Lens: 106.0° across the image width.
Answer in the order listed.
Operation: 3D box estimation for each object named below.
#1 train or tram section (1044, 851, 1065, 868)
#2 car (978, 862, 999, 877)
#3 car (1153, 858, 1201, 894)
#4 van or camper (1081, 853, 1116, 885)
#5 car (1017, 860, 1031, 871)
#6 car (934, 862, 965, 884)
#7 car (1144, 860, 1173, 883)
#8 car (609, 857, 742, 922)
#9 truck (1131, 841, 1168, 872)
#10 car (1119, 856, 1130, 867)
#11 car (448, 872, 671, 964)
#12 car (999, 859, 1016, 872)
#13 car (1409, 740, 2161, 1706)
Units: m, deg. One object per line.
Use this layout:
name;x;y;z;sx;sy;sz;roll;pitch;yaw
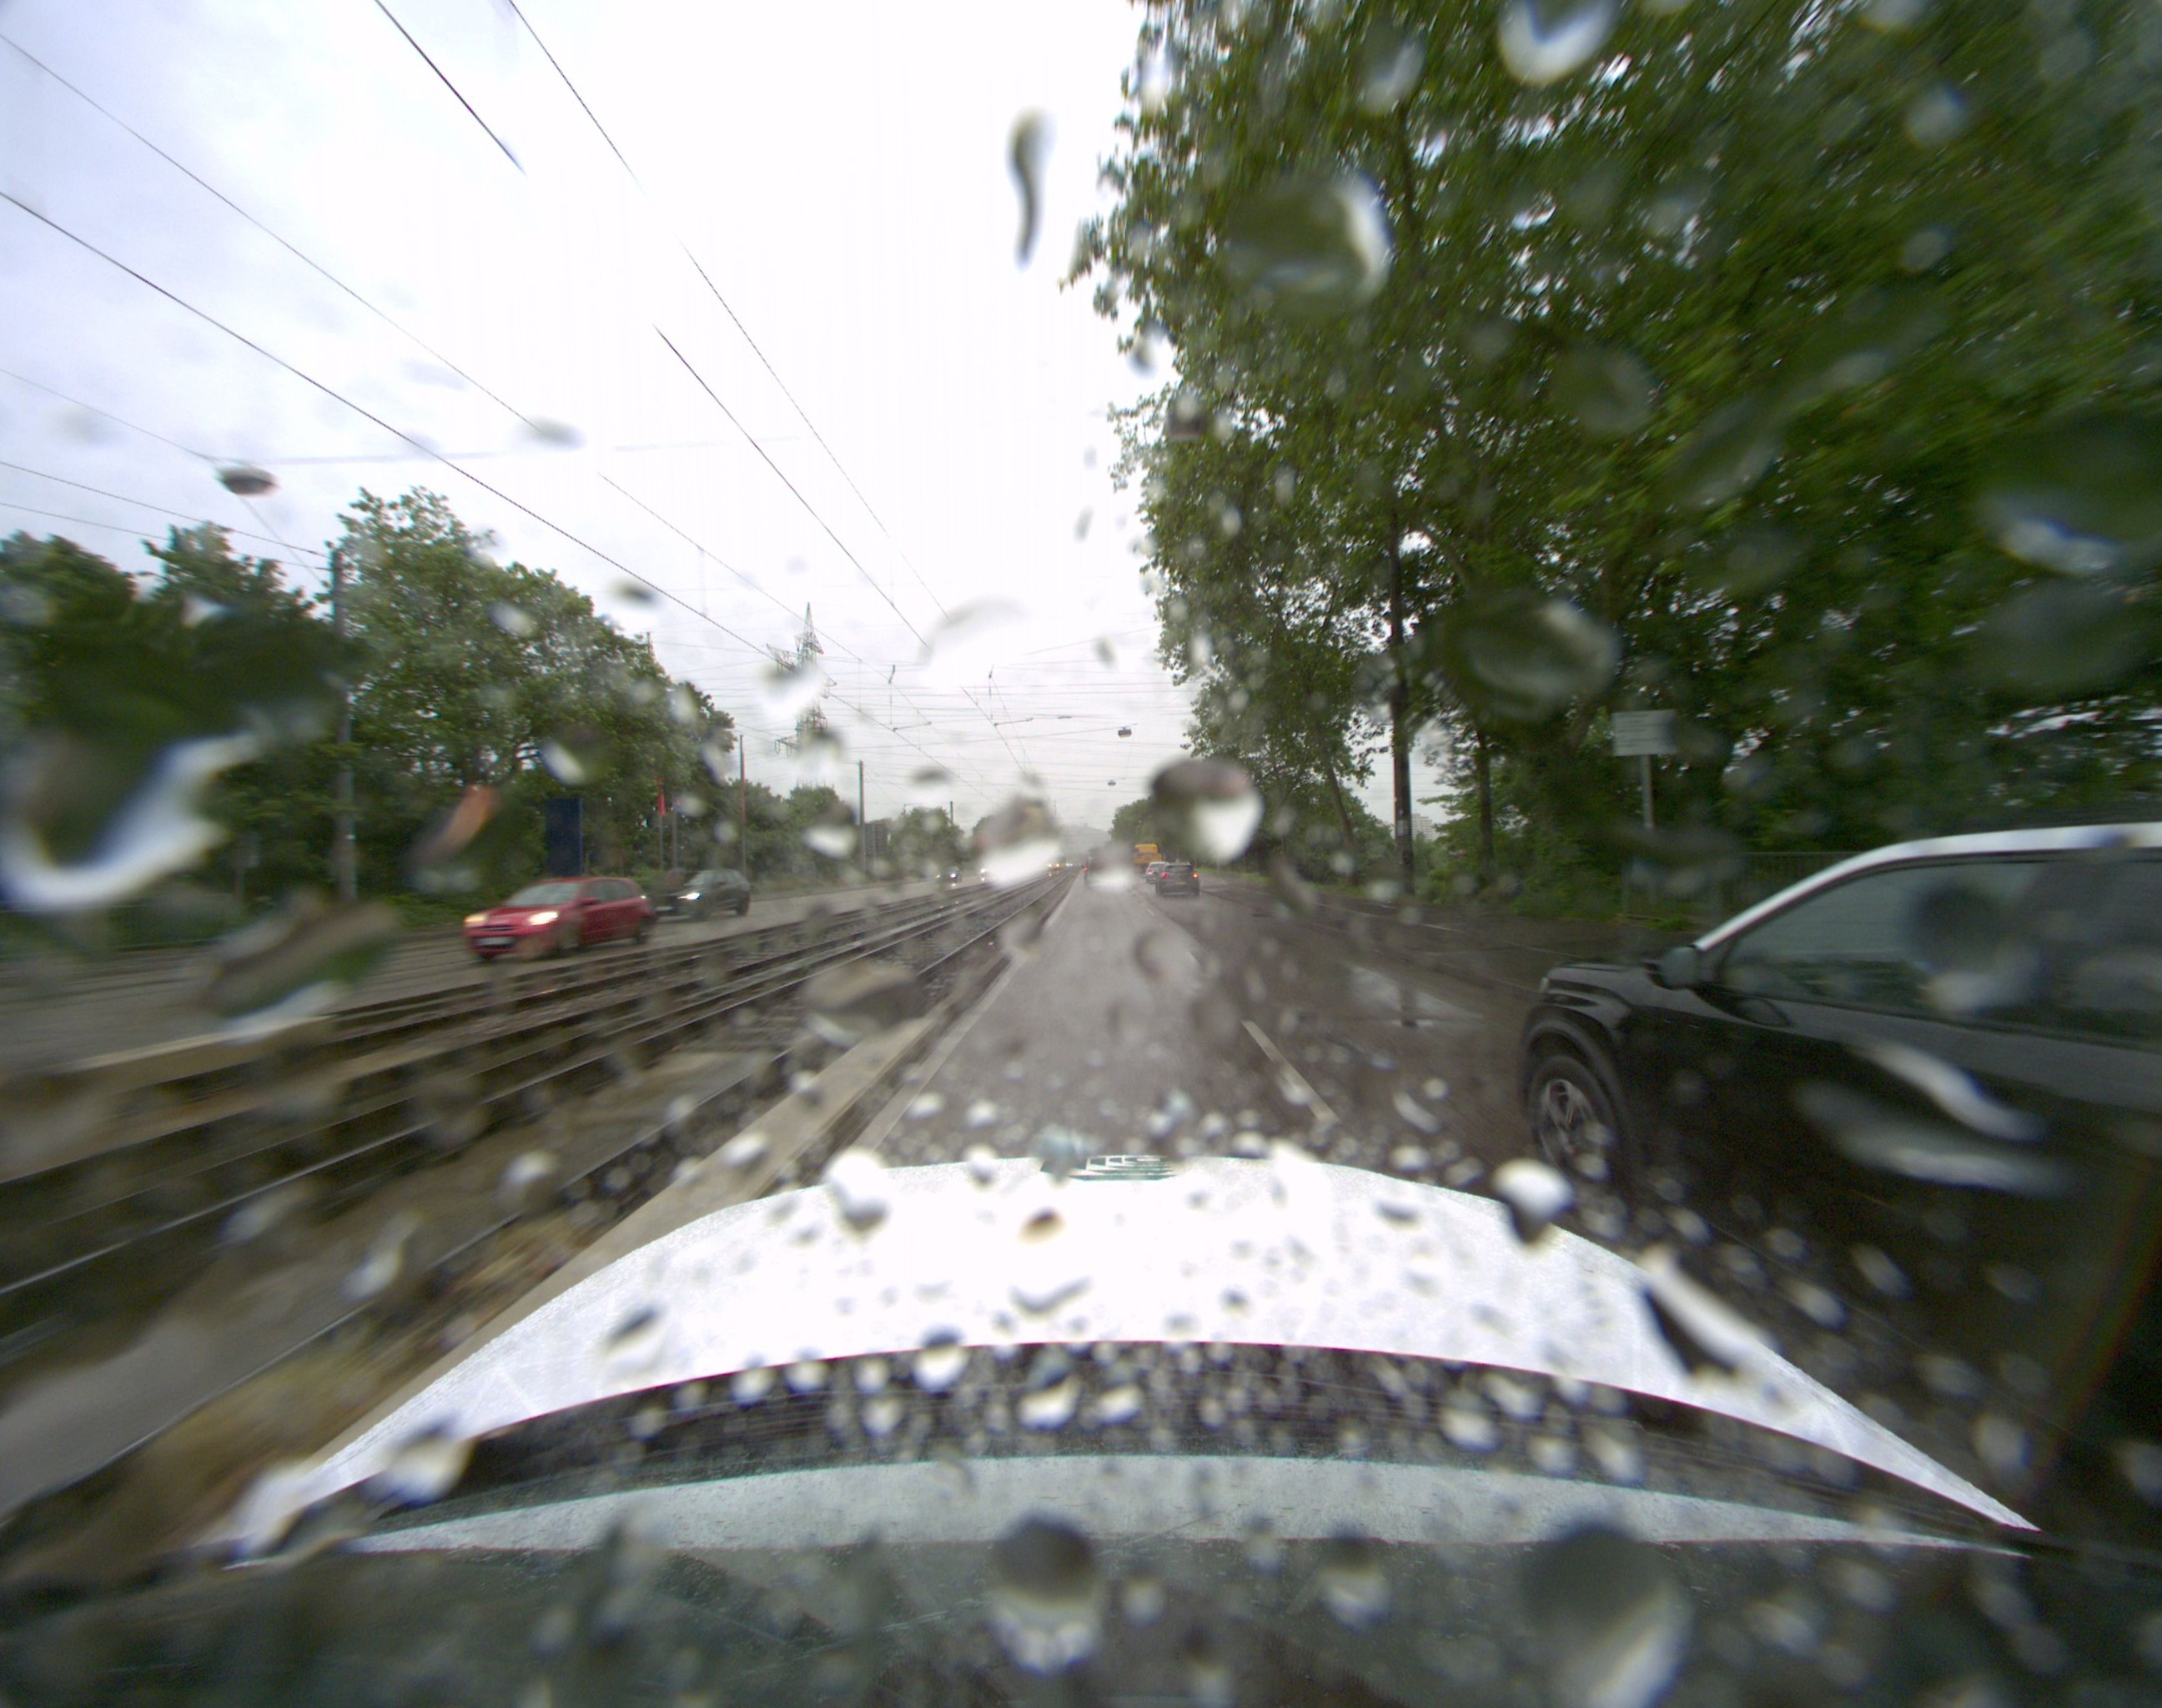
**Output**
train or tram section;-4.905;0.902;153.133;2.839;2.894;14.015;-2;0;3
car;-11.930;1.967;105.286;1.985;1.904;4.004;0;0;3
car;4.126;0.915;35.476;1.811;1.414;3.781;-1;1;3
van or camper;1.009;0.853;48.992;1.987;1.784;3.999;0;1;-1
car;-10.522;2.049;149.863;1.985;1.904;4.004;0;0;3
car;-11.881;1.693;73.750;1.985;1.904;4.004;0;0;3
car;5.226;1.137;55.351;1.811;1.414;3.781;-1;1;3
car;-12.695;1.049;25.813;1.985;1.816;4.004;-2;0;3
truck;6.412;0.224;77.227;3.101;2.773;6.332;-1;0;2
car;8.021;1.421;149.587;1.985;1.904;4.003;0;0;3
car;-10.175;1.167;16.309;1.650;1.486;4.016;-2;0;3
car;-11.633;1.803;128.968;1.985;1.904;4.004;0;0;3
car;2.882;0.635;2.539;1.893;1.716;4.727;-1;1;1
